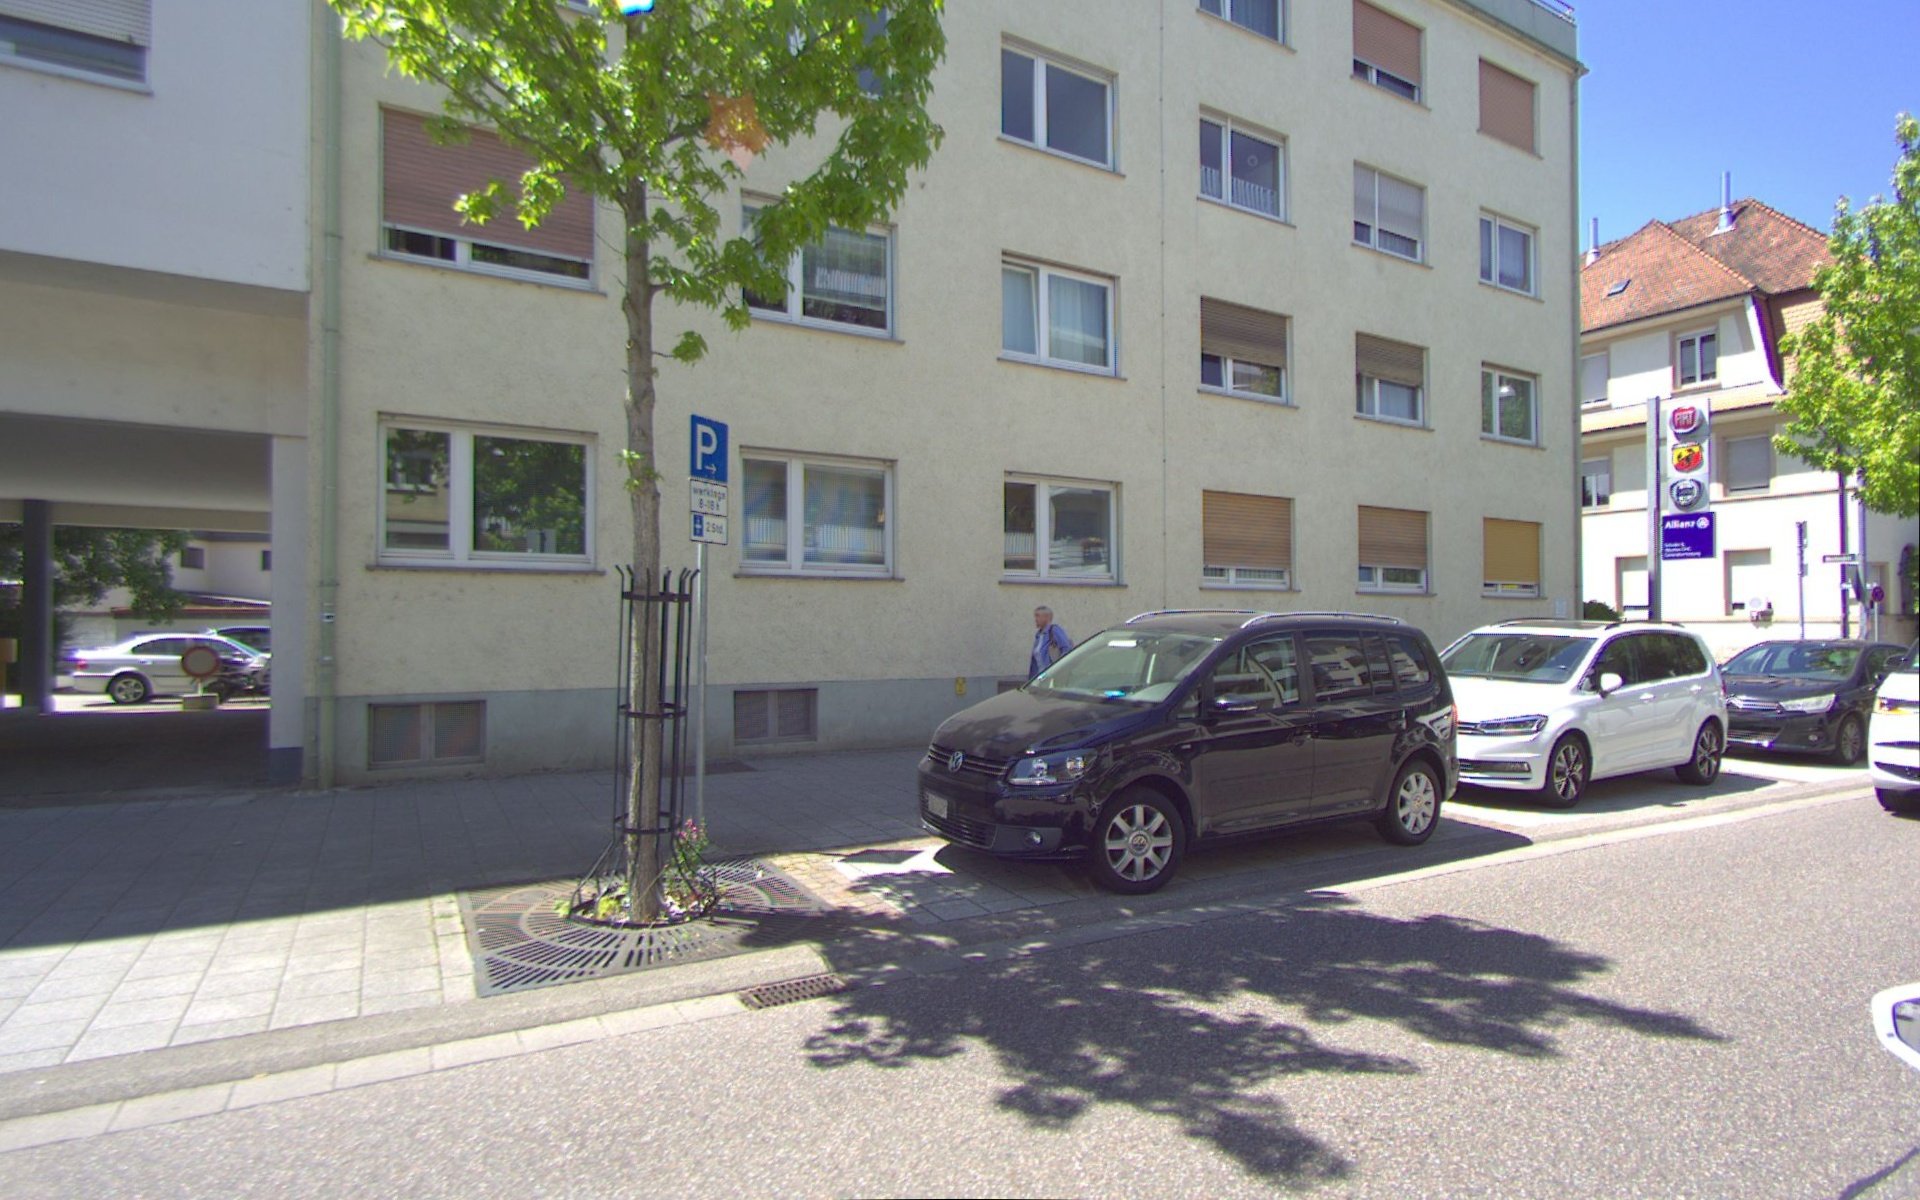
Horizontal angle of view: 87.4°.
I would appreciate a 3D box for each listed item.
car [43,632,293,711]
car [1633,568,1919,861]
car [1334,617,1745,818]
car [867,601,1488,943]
[{"bbox_3d":[-16.525,1.468,21.232,3.866,1.518,1.821,1,-3,-30],"label":"car"},{"bbox_3d":[8.040,0.866,8.674,4.852,1.947,1.897,2,-4,-33],"label":"car"},{"bbox_3d":[5.973,1.007,10.218,4.343,1.641,1.814,1,-1,-32],"label":"car"},{"bbox_3d":[1.674,0.940,7.157,4.343,1.764,1.719,1,1,-32],"label":"car"}]
